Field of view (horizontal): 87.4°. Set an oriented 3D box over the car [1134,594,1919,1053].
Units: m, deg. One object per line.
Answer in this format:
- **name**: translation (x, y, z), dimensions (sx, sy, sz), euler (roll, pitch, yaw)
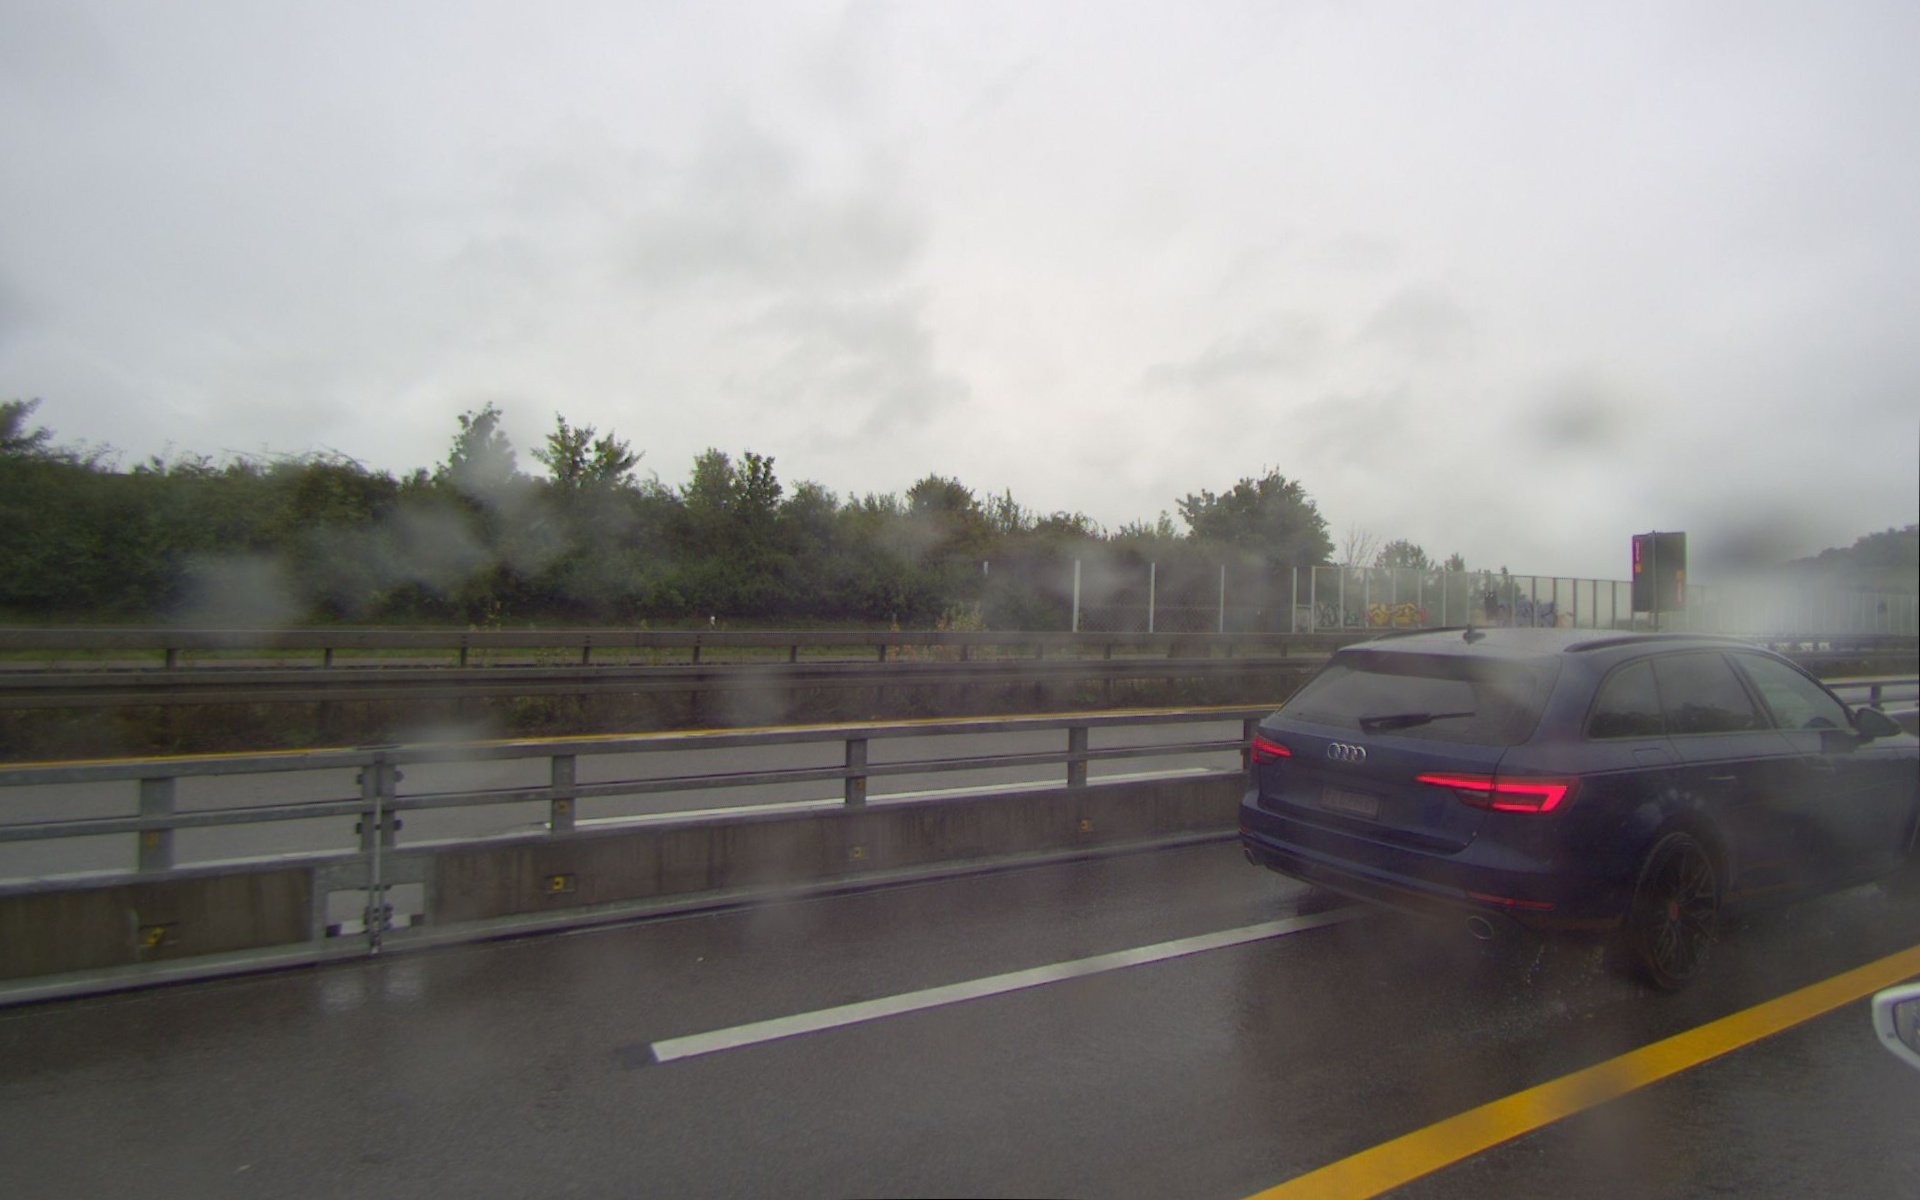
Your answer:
- **car**: translation (3.362, 0.804, 5.370), dimensions (4.576, 1.517, 1.984), euler (2, 0, -30)
